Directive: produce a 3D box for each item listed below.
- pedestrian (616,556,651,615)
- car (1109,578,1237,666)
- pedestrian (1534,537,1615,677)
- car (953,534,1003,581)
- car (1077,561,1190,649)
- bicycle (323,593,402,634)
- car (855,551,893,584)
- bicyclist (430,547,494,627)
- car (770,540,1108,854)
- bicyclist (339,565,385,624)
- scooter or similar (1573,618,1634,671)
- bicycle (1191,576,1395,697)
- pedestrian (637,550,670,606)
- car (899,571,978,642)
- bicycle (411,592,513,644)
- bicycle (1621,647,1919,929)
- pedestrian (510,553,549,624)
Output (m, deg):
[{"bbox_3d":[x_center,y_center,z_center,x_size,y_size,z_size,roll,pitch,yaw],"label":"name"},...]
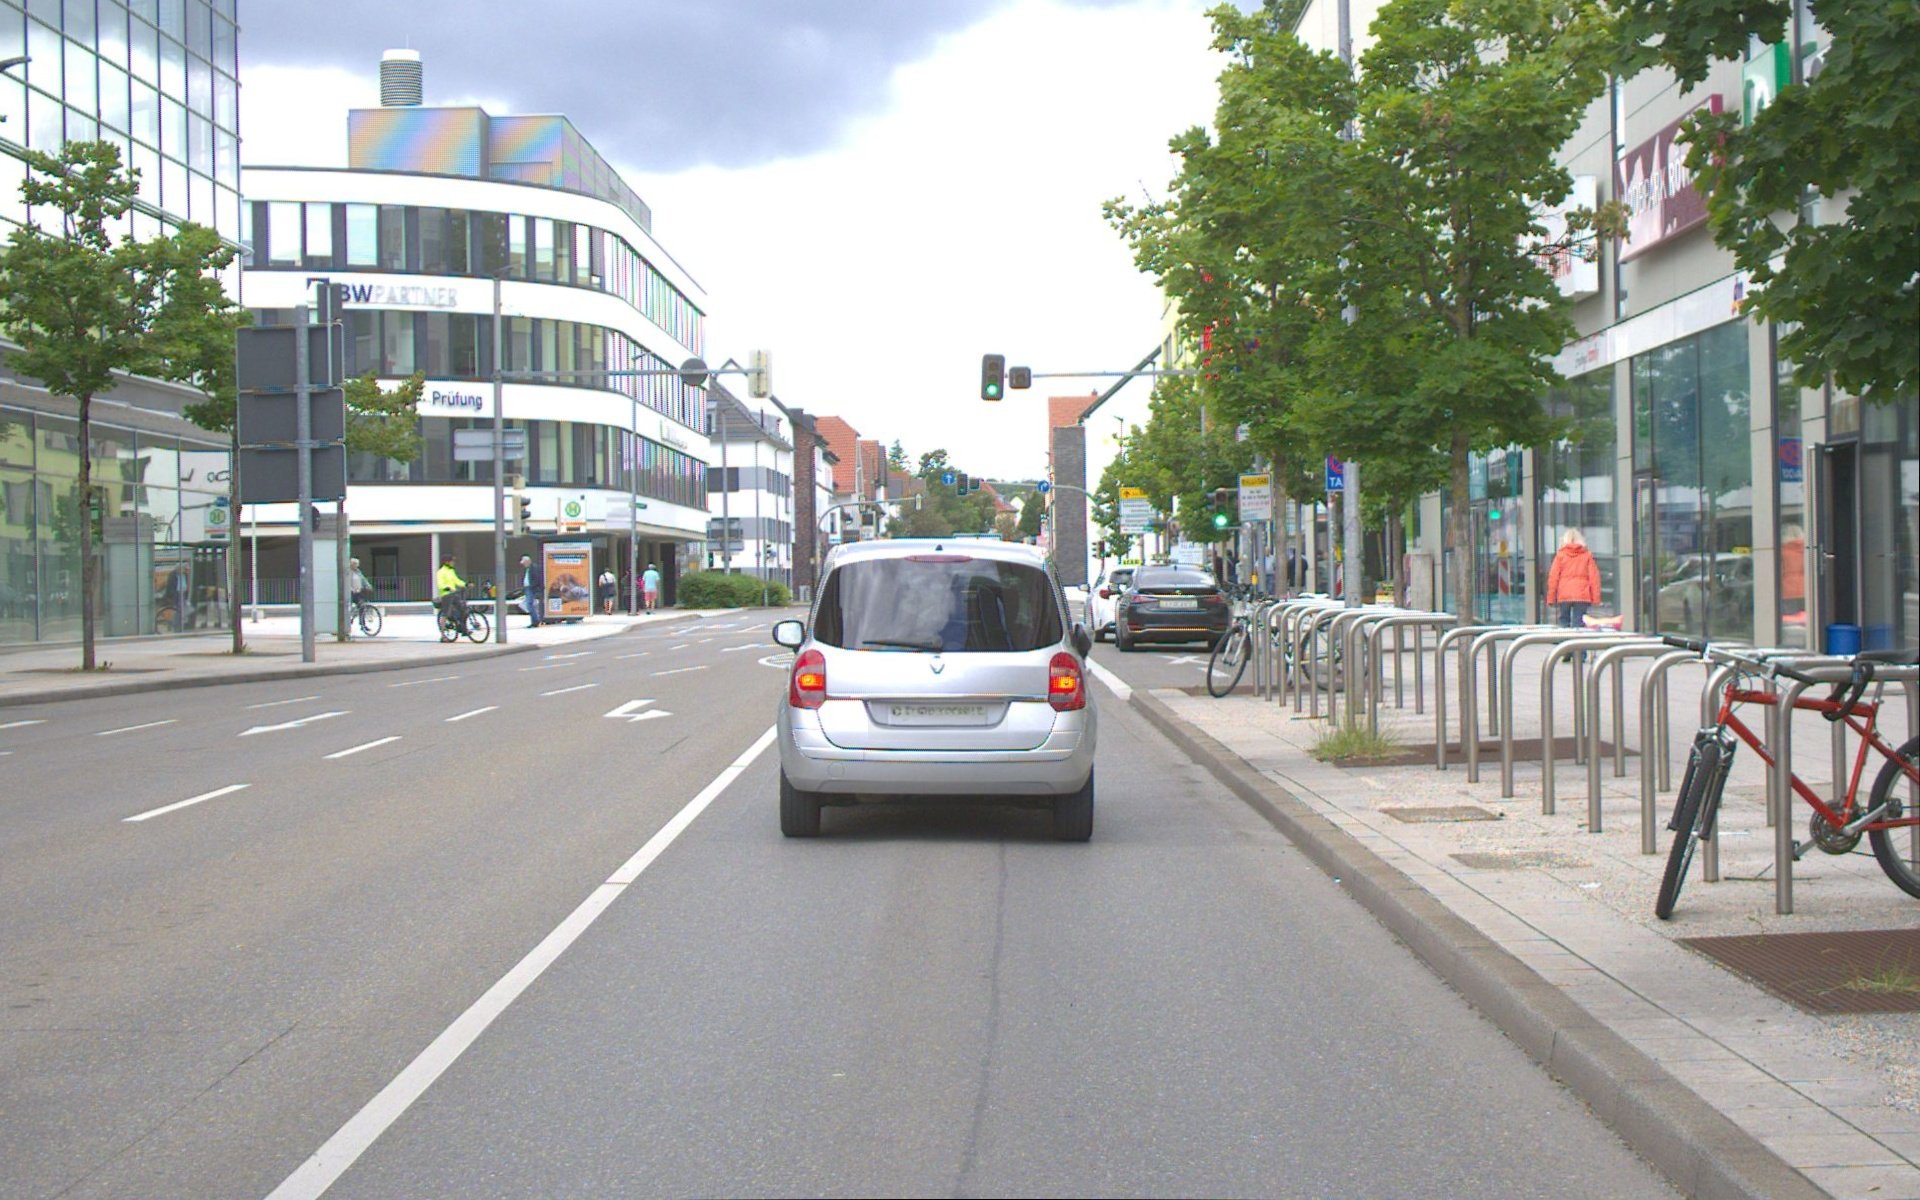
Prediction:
[{"bbox_3d":[-10.435,-0.467,109.911,0.960,1.827,1.250,-1,1,1],"label":"pedestrian"},{"bbox_3d":[3.504,0.338,57.107,1.877,1.330,4.000,1,1,0],"label":"car"},{"bbox_3d":[7.139,0.072,39.974,0.710,1.569,0.812,-4,1,1],"label":"pedestrian"},{"bbox_3d":[0.821,-1.922,155.043,2.170,2.007,4.258,-1,1,1],"label":"car"},{"bbox_3d":[3.161,0.066,63.366,1.877,1.503,4.000,1,1,0],"label":"car"},{"bbox_3d":[-13.487,0.298,77.547,0.827,0.895,2.525,-1,1,-32],"label":"bicycle"},{"bbox_3d":[-5.413,-2.062,216.909,2.170,2.007,4.258,-1,1,1],"label":"car"},{"bbox_3d":[-10.407,-0.273,71.810,1.006,1.655,0.933,1,0,-30],"label":"bicyclist"},{"bbox_3d":[-0.172,0.461,19.164,1.669,1.549,3.642,1,1,-2],"label":"car"},{"bbox_3d":[-13.492,-0.125,77.546,0.827,1.322,0.652,-1,1,-32],"label":"bicyclist"},{"bbox_3d":[7.333,0.504,39.174,0.550,0.544,0.642,-4,1,1],"label":"scooter or similar"},{"bbox_3d":[3.163,0.341,32.784,1.825,1.071,0.752,-2,1,-1],"label":"bicycle"},{"bbox_3d":[-10.221,-0.748,114.716,0.960,1.827,1.250,-1,1,1],"label":"pedestrian"},{"bbox_3d":[-0.516,0.123,80.036,1.669,1.549,3.642,1,1,-2],"label":"car"},{"bbox_3d":[-10.418,0.369,71.800,1.006,1.015,3.130,1,0,-30],"label":"bicycle"},{"bbox_3d":[3.307,0.685,12.820,1.561,0.989,0.752,-1,1,4],"label":"bicycle"},{"bbox_3d":[-11.310,-0.306,90.399,0.960,1.827,1.251,-1,1,-7],"label":"pedestrian"}]
